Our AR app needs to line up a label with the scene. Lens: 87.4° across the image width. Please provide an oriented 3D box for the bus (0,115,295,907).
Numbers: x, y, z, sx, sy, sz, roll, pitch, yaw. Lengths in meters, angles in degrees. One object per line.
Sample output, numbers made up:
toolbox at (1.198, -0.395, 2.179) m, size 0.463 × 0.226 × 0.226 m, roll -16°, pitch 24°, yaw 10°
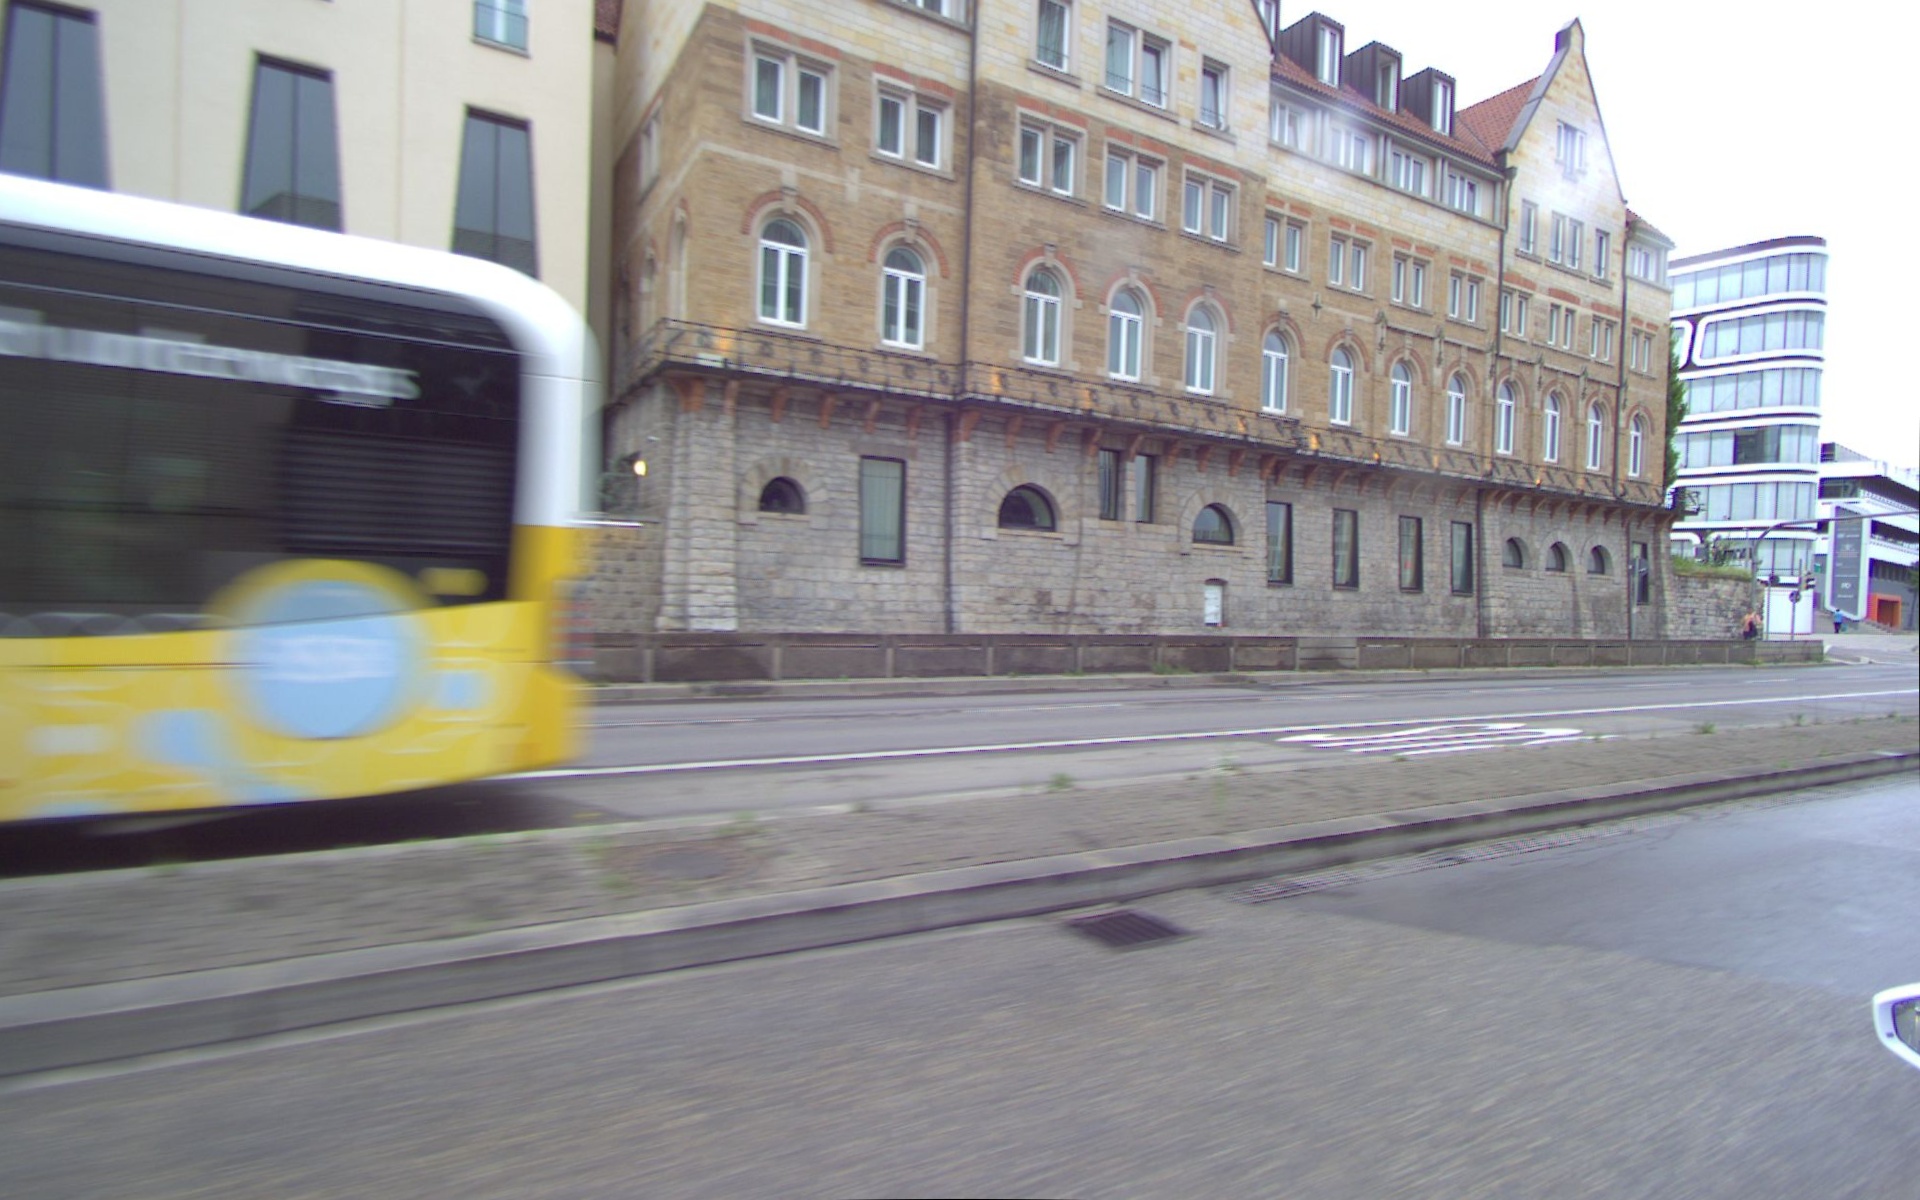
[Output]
bus at (-8.499, -0.446, 3.637) m, size 9.977 × 3.606 × 2.685 m, roll 1°, pitch -1°, yaw -31°

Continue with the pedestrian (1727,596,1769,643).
pedestrian at (31.928, 0.780, 40.708) m, size 1.040 × 1.892 × 0.883 m, roll -1°, pitch 0°, yaw 4°

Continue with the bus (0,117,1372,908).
bus at (-0.986, -0.350, 8.209) m, size 9.977 × 3.606 × 2.685 m, roll 0°, pitch -1°, yaw -31°

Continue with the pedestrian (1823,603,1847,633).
pedestrian at (59.718, 1.241, 68.553) m, size 0.707 × 2.040 × 1.024 m, roll -1°, pitch 0°, yaw -31°
